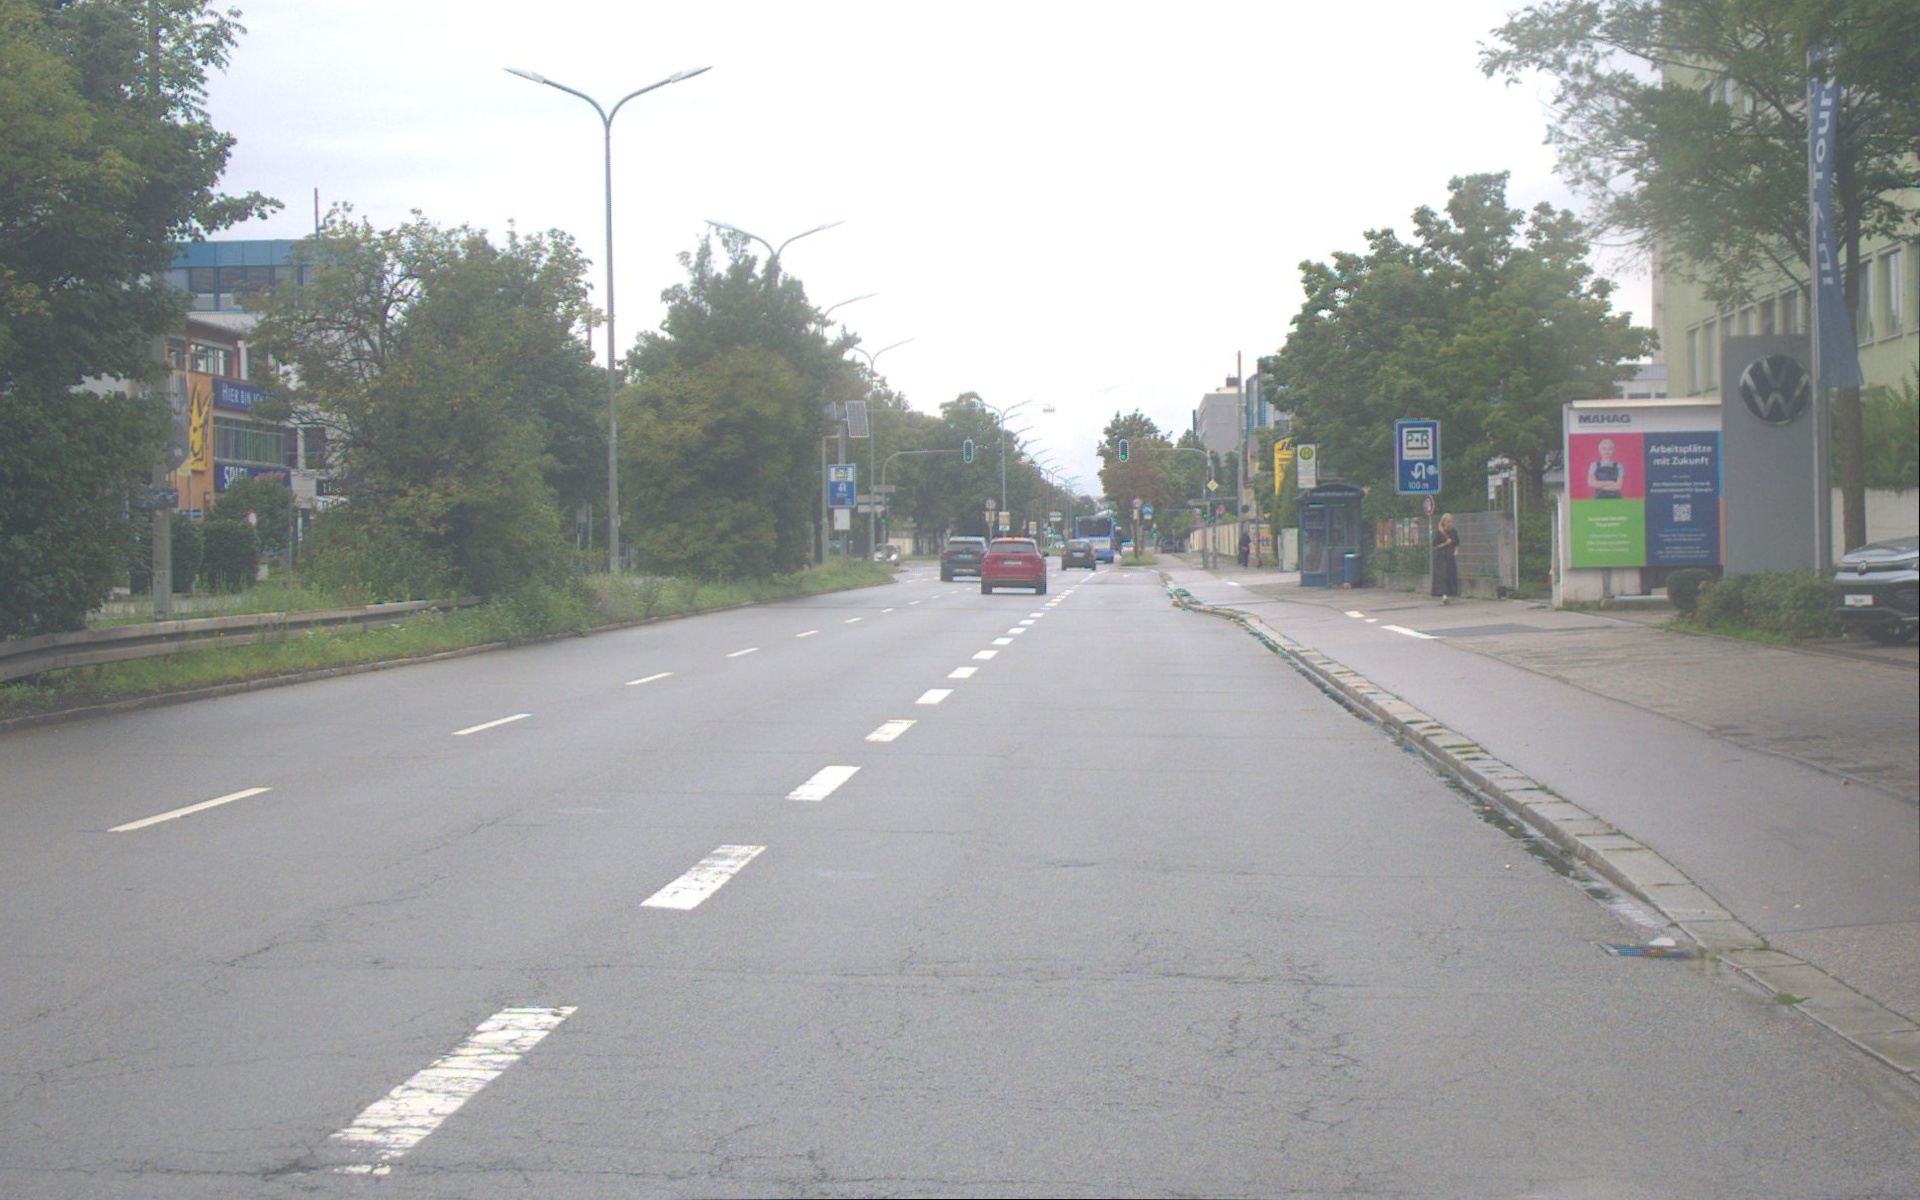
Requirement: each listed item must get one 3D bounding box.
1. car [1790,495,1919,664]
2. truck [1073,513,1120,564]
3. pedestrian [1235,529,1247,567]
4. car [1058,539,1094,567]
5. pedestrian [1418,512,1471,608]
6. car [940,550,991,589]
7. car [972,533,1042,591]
[{"bbox_3d":[11.412,-0.272,36.554,4.587,1.701,2.008,-2,0,-18],"label":"car"},{"bbox_3d":[8.999,-4.035,227.636,2.969,3.274,7.915,0,1,1],"label":"truck"},{"bbox_3d":[12.140,-2.263,148.715,0.483,1.630,0.590,0,0,2],"label":"pedestrian"},{"bbox_3d":[5.990,-2.417,177.394,1.803,1.428,4.000,0,0,1],"label":"car"},{"bbox_3d":[9.075,-0.748,64.410,0.758,1.722,0.895,-4,1,1],"label":"pedestrian"},{"bbox_3d":[0.218,-1.140,127.586,1.803,1.428,4.000,-1,1,1],"label":"car"},{"bbox_3d":[1.364,-1.056,97.952,1.862,1.612,4.000,0,0,3],"label":"car"}]
